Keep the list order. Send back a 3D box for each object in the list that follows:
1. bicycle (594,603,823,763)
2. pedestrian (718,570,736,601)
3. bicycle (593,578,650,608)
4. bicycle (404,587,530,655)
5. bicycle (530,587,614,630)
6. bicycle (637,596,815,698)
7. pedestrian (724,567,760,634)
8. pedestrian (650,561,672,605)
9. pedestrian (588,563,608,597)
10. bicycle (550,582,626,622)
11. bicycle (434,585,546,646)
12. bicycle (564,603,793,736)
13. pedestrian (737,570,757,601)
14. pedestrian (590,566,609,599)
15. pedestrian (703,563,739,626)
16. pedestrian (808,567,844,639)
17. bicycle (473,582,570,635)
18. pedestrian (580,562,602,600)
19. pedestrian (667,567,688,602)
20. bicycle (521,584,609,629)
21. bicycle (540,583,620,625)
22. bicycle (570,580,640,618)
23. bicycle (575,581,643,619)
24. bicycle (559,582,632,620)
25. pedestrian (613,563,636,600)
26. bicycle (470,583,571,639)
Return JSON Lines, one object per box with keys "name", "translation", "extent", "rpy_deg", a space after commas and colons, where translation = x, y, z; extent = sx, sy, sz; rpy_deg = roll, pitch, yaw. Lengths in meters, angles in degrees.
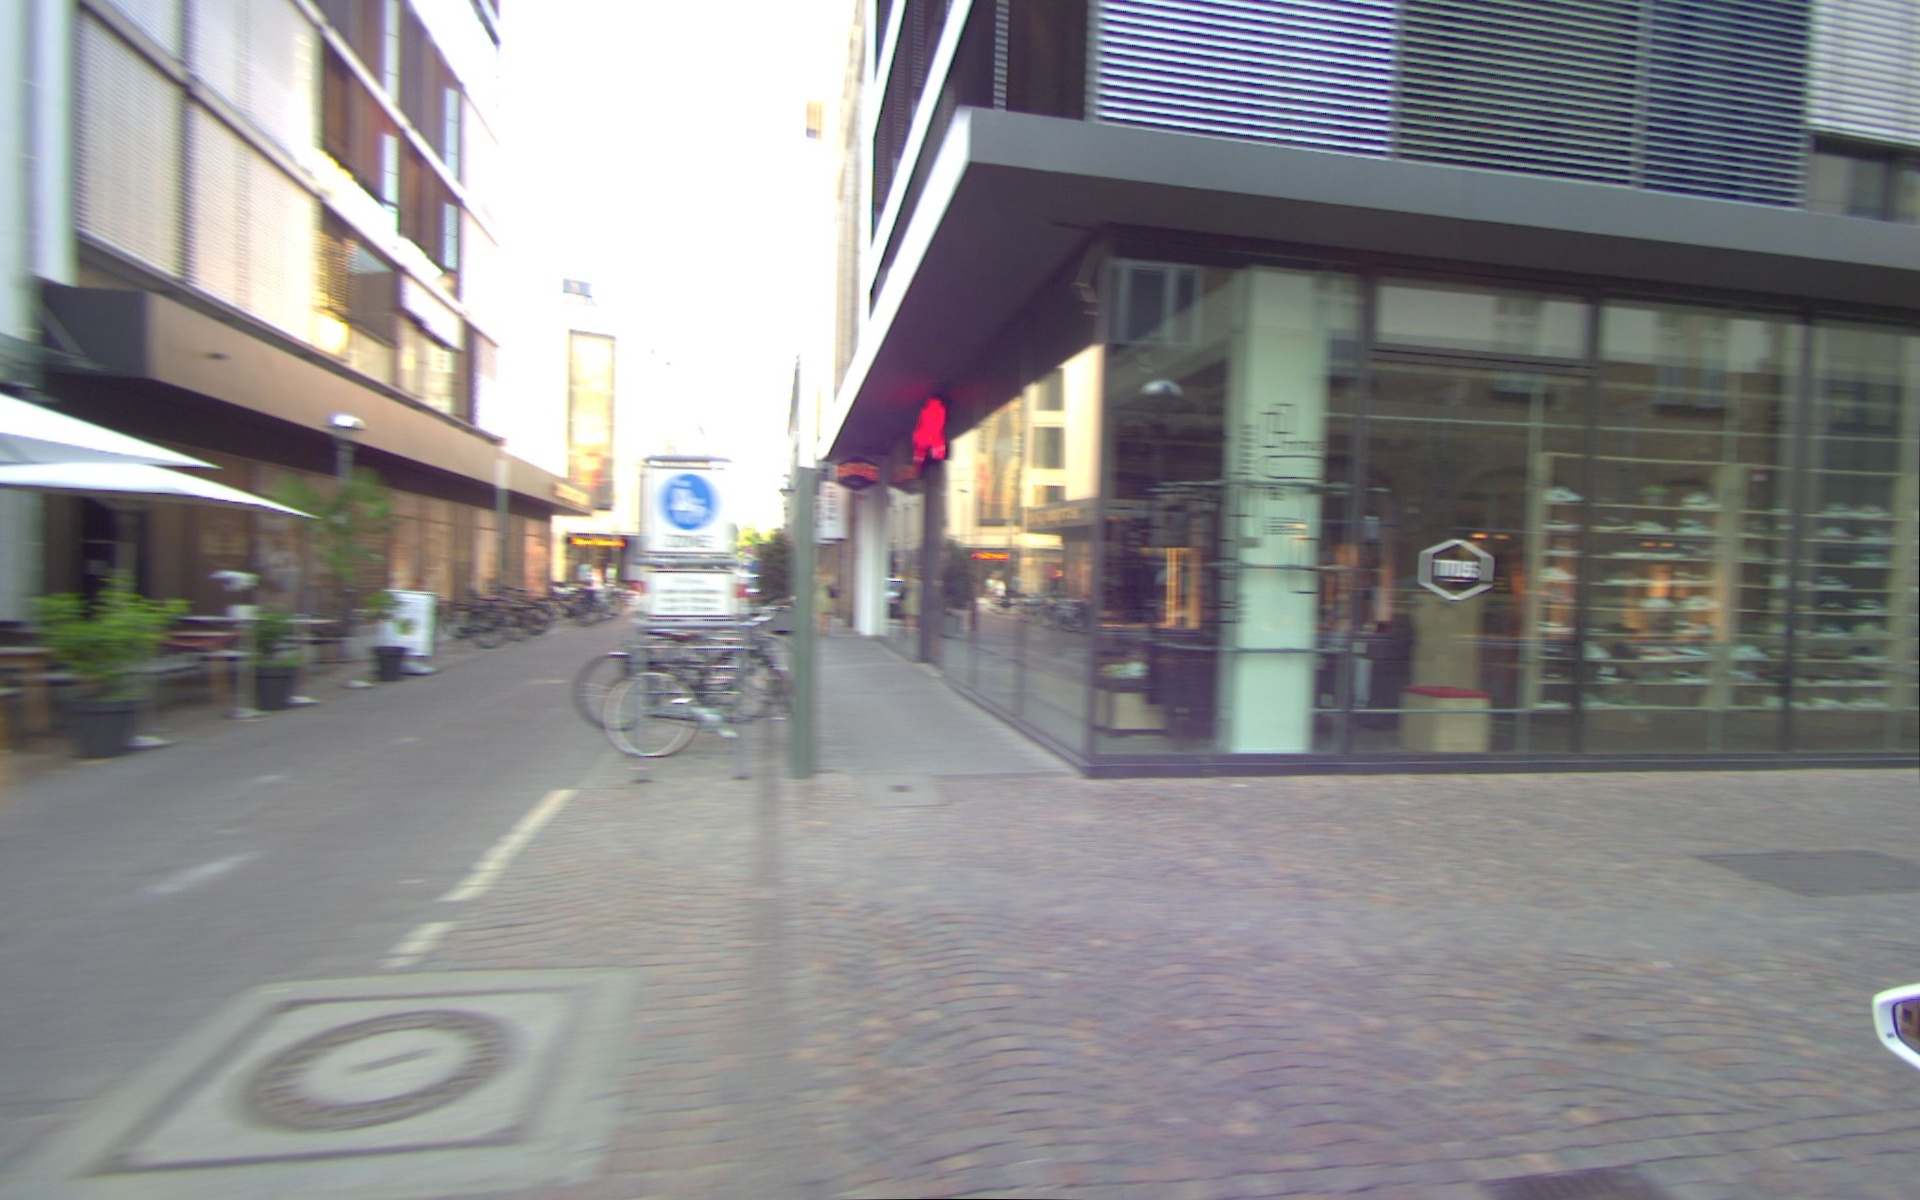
{"name": "bicycle", "translation": [-1.933, 0.617, 7.862], "extent": [1.673, 1.152, 0.466], "rpy_deg": [-1, 2, -12]}
{"name": "pedestrian", "translation": [-13.491, -0.851, 58.125], "extent": [0.848, 1.757, 0.933], "rpy_deg": [1, 2, -5]}
{"name": "bicycle", "translation": [-13.205, -0.260, 39.207], "extent": [2.019, 1.026, 0.466], "rpy_deg": [4, 1, -12]}
{"name": "bicycle", "translation": [-8.846, 0.380, 18.064], "extent": [1.920, 1.089, 0.466], "rpy_deg": [3, 1, -12]}
{"name": "bicycle", "translation": [-10.501, 0.235, 27.223], "extent": [2.019, 1.030, 0.466], "rpy_deg": [4, 1, -12]}
{"name": "bicycle", "translation": [-2.754, 0.537, 11.957], "extent": [2.004, 1.136, 0.466], "rpy_deg": [-1, 2, -12]}
{"name": "pedestrian", "translation": [-5.279, 0.014, 24.366], "extent": [0.786, 1.587, 0.857], "rpy_deg": [1, 2, -10]}
{"name": "pedestrian", "translation": [-12.806, -0.729, 43.057], "extent": [0.821, 1.884, 0.905], "rpy_deg": [1, 2, -12]}
{"name": "pedestrian", "translation": [-20.295, -1.115, 56.325], "extent": [0.891, 1.884, 0.834], "rpy_deg": [1, 2, -11]}
{"name": "bicycle", "translation": [-11.052, 0.064, 29.890], "extent": [2.019, 1.063, 0.466], "rpy_deg": [4, 1, -12]}
{"name": "bicycle", "translation": [-9.363, 0.305, 20.078], "extent": [1.920, 1.089, 0.466], "rpy_deg": [3, 1, -12]}
{"name": "bicycle", "translation": [-2.565, 0.614, 9.306], "extent": [1.980, 1.136, 0.466], "rpy_deg": [-1, 2, -12]}
{"name": "pedestrian", "translation": [-12.235, -0.829, 57.814], "extent": [0.993, 1.757, 0.980], "rpy_deg": [1, 2, -5]}
{"name": "pedestrian", "translation": [-20.531, -1.004, 57.268], "extent": [0.891, 1.884, 0.834], "rpy_deg": [1, 2, -11]}
{"name": "pedestrian", "translation": [-6.521, -0.150, 27.461], "extent": [0.886, 1.683, 0.928], "rpy_deg": [1, 2, -10]}
{"name": "pedestrian", "translation": [-3.060, 0.056, 22.928], "extent": [0.785, 1.587, 0.857], "rpy_deg": [1, 2, -9]}
{"name": "bicycle", "translation": [-10.048, 0.202, 23.055], "extent": [1.920, 1.089, 0.466], "rpy_deg": [3, 1, -12]}
{"name": "pedestrian", "translation": [-18.624, -0.972, 50.734], "extent": [0.891, 1.884, 0.834], "rpy_deg": [1, 2, -11]}
{"name": "pedestrian", "translation": [-13.580, -0.740, 48.313], "extent": [0.892, 1.683, 0.791], "rpy_deg": [1, 2, -13]}
{"name": "bicycle", "translation": [-10.234, 0.177, 26.072], "extent": [2.019, 1.030, 0.466], "rpy_deg": [4, 1, -12]}
{"name": "bicycle", "translation": [-10.794, 0.108, 28.572], "extent": [2.019, 1.063, 0.466], "rpy_deg": [4, 1, -12]}
{"name": "bicycle", "translation": [-11.417, -0.038, 32.374], "extent": [2.019, 1.110, 0.466], "rpy_deg": [4, 1, -12]}
{"name": "bicycle", "translation": [-11.595, -0.009, 33.186], "extent": [2.019, 1.110, 0.466], "rpy_deg": [4, 1, -12]}
{"name": "bicycle", "translation": [-11.323, 0.036, 31.229], "extent": [2.019, 1.063, 0.466], "rpy_deg": [4, 1, -12]}
{"name": "pedestrian", "translation": [-17.212, -0.963, 51.523], "extent": [1.010, 1.884, 0.904], "rpy_deg": [1, 2, -11]}
{"name": "bicycle", "translation": [-9.533, 0.247, 21.832], "extent": [1.920, 1.089, 0.466], "rpy_deg": [3, 1, -12]}
